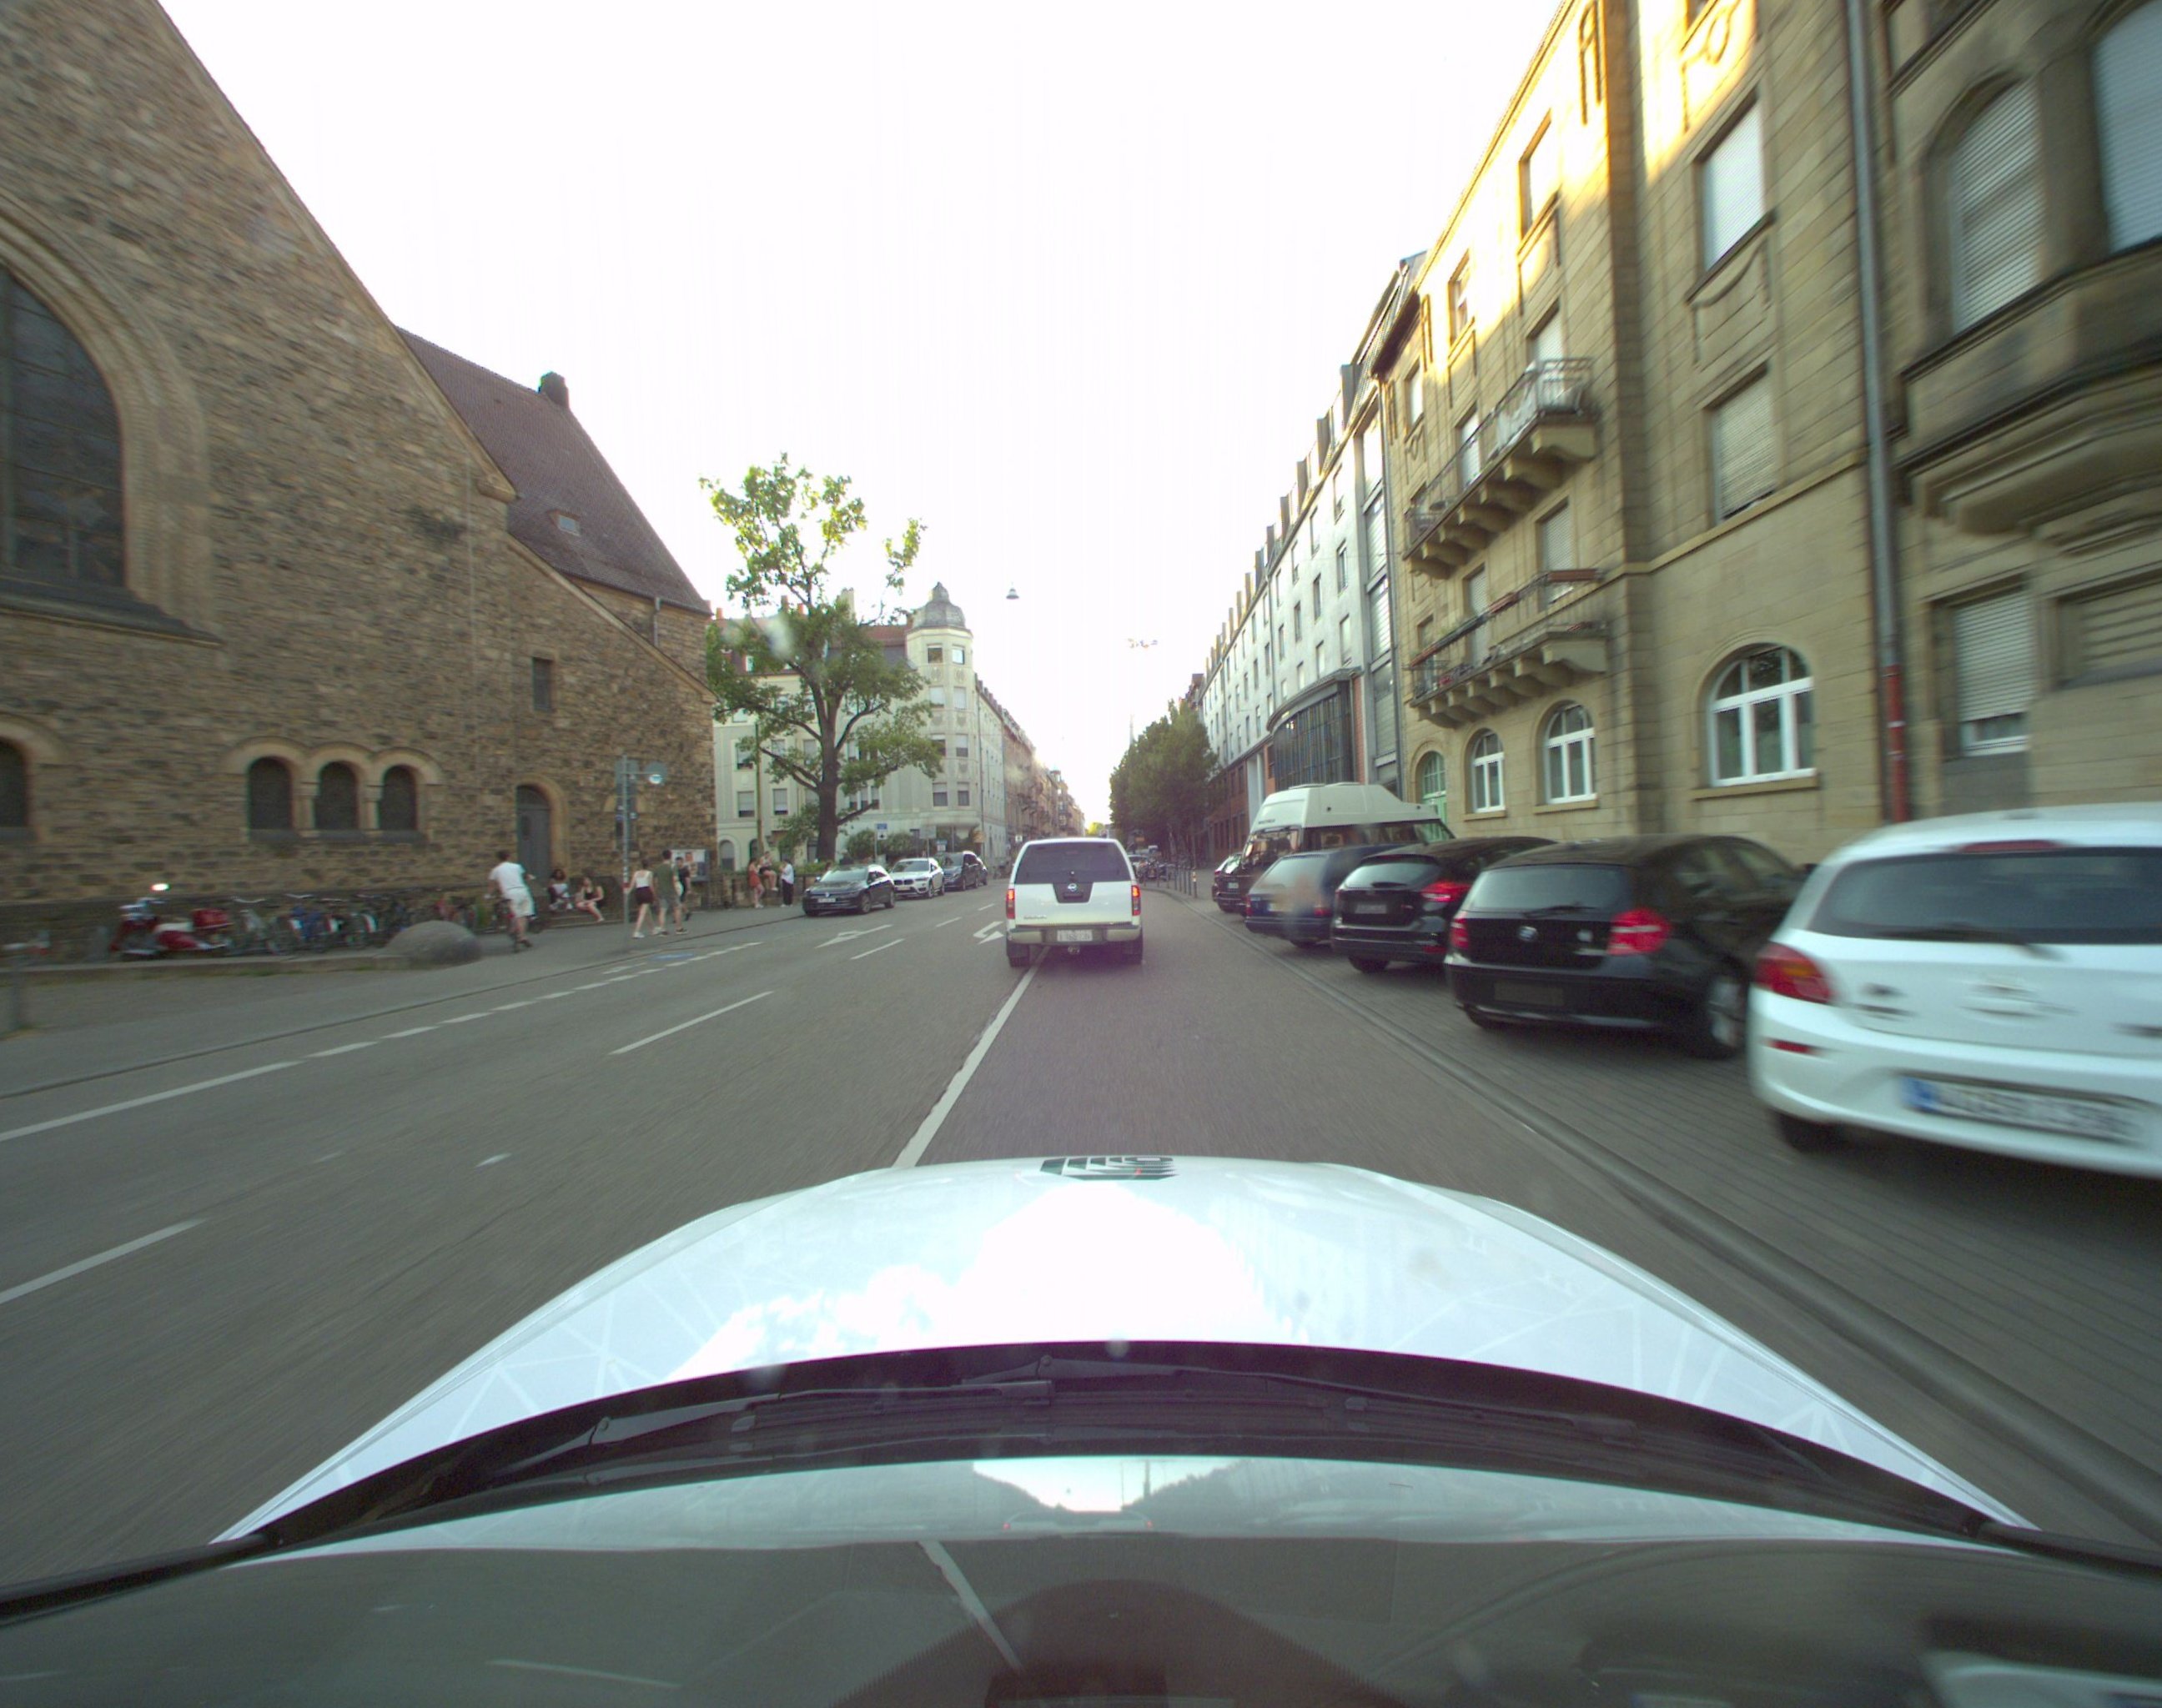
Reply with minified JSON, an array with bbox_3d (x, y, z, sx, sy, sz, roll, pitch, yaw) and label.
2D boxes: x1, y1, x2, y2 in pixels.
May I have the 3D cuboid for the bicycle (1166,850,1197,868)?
[{"bbox_3d":[8.521,0.444,69.350,2.523,1.379,0.600,-2,0,4],"label":"bicycle"}]

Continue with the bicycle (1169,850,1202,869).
[{"bbox_3d":[8.166,0.450,63.758,2.523,1.379,0.600,-2,0,4],"label":"bicycle"}]

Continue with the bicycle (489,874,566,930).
[{"bbox_3d":[-12.921,1.123,19.000,1.715,1.248,0.439,-2,0,16],"label":"bicycle"}]

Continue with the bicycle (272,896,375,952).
[{"bbox_3d":[-14.445,1.330,15.526,1.986,0.989,0.468,-2,0,17],"label":"bicycle"}]

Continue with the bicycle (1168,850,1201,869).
[{"bbox_3d":[8.168,0.454,64.473,2.523,1.379,0.600,-2,0,4],"label":"bicycle"}]

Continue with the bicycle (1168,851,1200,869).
[{"bbox_3d":[8.353,0.482,65.980,2.523,1.379,0.600,-2,0,4],"label":"bicycle"}]

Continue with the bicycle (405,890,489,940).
[{"bbox_3d":[-13.572,1.311,17.420,1.864,0.989,0.372,-2,0,16],"label":"bicycle"}]

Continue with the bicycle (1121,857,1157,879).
[{"bbox_3d":[3.101,0.758,43.846,1.851,1.066,0.445,-4,0,0],"label":"bicycle"}]

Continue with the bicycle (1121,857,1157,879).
[{"bbox_3d":[3.067,0.734,43.089,1.851,1.066,0.445,-4,0,0],"label":"bicycle"}]

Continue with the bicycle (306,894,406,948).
[{"bbox_3d":[-14.239,1.324,15.998,1.986,0.989,0.468,-2,0,17],"label":"bicycle"}]

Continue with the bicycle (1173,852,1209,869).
[{"bbox_3d":[7.930,0.459,58.872,2.523,1.166,0.563,-2,0,4],"label":"bicycle"}]

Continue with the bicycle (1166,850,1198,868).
[{"bbox_3d":[8.334,0.438,67.427,2.523,1.379,0.600,-2,0,4],"label":"bicycle"}]

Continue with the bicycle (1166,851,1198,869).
[{"bbox_3d":[8.261,0.517,66.630,2.523,1.379,0.600,-2,0,4],"label":"bicycle"}]

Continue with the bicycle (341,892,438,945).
[{"bbox_3d":[-14.019,1.312,16.508,1.968,0.989,0.468,-2,0,17],"label":"bicycle"}]

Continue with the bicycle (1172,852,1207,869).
[{"bbox_3d":[8.076,0.489,60.753,2.523,1.166,0.563,-2,0,4],"label":"bicycle"}]

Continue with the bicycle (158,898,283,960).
[{"bbox_3d":[-15.018,1.305,14.220,1.987,0.989,0.588,-2,0,15],"label":"bicycle"}]

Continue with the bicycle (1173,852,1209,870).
[{"bbox_3d":[8.004,0.509,59.501,2.523,1.166,0.563,-2,0,4],"label":"bicycle"}]

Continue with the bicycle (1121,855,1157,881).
[{"bbox_3d":[2.905,0.697,41.104,1.702,1.176,0.472,-4,0,0],"label":"bicycle"}]

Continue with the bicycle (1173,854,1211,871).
[{"bbox_3d":[7.930,0.587,58.249,2.523,0.959,0.681,-6,-1,4],"label":"bicycle"}]

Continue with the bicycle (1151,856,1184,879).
[{"bbox_3d":[4.419,0.683,41.598,1.534,1.038,0.472,-4,0,0],"label":"bicycle"}]

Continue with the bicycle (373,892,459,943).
[{"bbox_3d":[-13.804,1.315,16.902,1.864,0.989,0.372,-2,0,17],"label":"bicycle"}]

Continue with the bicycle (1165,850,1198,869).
[{"bbox_3d":[8.384,0.441,68.065,2.523,1.244,0.600,-8,-1,4],"label":"bicycle"}]

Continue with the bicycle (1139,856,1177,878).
[{"bbox_3d":[4.021,0.679,42.596,1.851,1.038,0.402,-4,0,0],"label":"bicycle"}]

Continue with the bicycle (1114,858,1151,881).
[{"bbox_3d":[2.656,0.796,42.009,1.851,1.038,0.472,-4,0,0],"label":"bicycle"}]

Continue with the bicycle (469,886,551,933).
[{"bbox_3d":[-13.028,1.264,18.568,1.864,0.989,0.443,-2,0,17],"label":"bicycle"}]

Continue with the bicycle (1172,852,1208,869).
[{"bbox_3d":[8.038,0.492,60.143,2.523,1.166,0.563,-2,0,4],"label":"bicycle"}]

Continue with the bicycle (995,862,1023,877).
[{"bbox_3d":[-5.366,1.147,61.024,2.090,1.095,0.504,-1,1,26],"label":"bicycle"}]

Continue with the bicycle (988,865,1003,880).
[{"bbox_3d":[-6.261,1.356,59.880,0.420,1.012,1.726,-2,1,16],"label":"bicycle"}]

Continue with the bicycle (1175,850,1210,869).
[{"bbox_3d":[7.821,0.393,57.045,2.336,1.099,0.681,-6,-1,4],"label":"bicycle"}]

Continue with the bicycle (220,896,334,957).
[{"bbox_3d":[-14.719,1.314,14.909,1.986,0.989,0.588,1,0,17],"label":"bicycle"}]

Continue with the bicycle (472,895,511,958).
[{"bbox_3d":[-10.972,1.310,15.183,0.555,1.012,2.164,-1,0,-35],"label":"bicycle"}]

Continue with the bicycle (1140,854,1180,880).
[{"bbox_3d":[3.916,0.643,40.496,1.852,1.146,0.659,-5,0,1],"label":"bicycle"}]
